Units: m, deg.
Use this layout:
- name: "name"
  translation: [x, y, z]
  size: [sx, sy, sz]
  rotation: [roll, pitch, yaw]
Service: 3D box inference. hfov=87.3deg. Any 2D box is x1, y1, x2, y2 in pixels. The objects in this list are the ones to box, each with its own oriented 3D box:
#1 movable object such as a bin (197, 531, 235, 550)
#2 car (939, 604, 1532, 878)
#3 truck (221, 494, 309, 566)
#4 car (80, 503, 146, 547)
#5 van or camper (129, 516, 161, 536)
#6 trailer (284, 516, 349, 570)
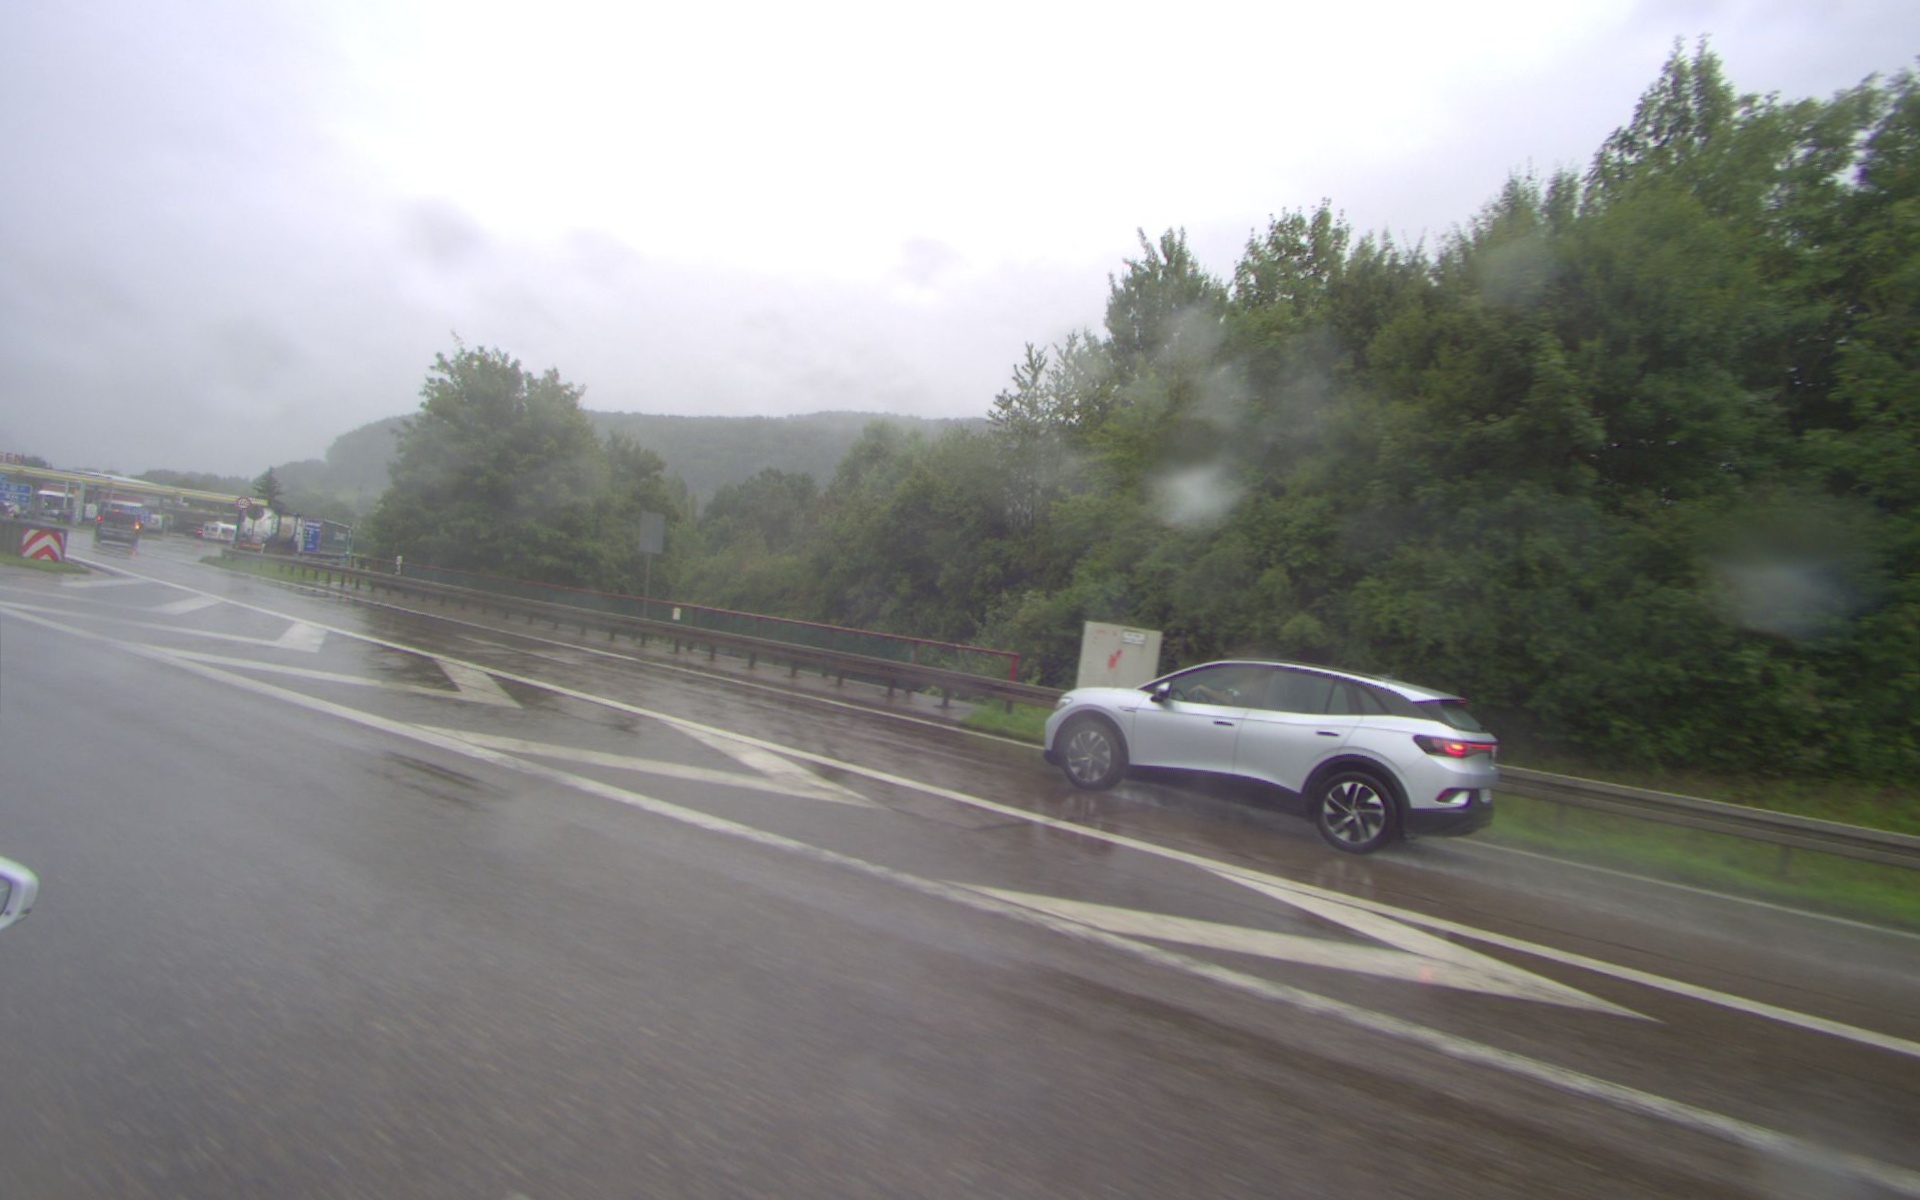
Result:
- name: "movable object such as a bin"
  translation: [-102.728, -8.227, 138.888]
  size: [5.294, 2.036, 2.171]
  rotation: [6, -2, 32]
- name: "car"
  translation: [2.656, 1.262, 10.655]
  size: [5.577, 1.770, 1.995]
  rotation: [6, -2, 38]
- name: "truck"
  translation: [-50.532, -4.905, 73.512]
  size: [2.845, 4.305, 11.805]
  rotation: [8, -2, -25]
- name: "car"
  translation: [-48.061, -4.267, 57.035]
  size: [4.984, 2.037, 1.992]
  rotation: [6, -1, 42]
- name: "van or camper"
  translation: [-109.093, -9.903, 134.592]
  size: [3.934, 2.037, 1.998]
  rotation: [6, -2, 32]
- name: "trailer"
  translation: [-56.518, -4.847, 88.658]
  size: [2.759, 3.945, 11.687]
  rotation: [8, -2, -24]
